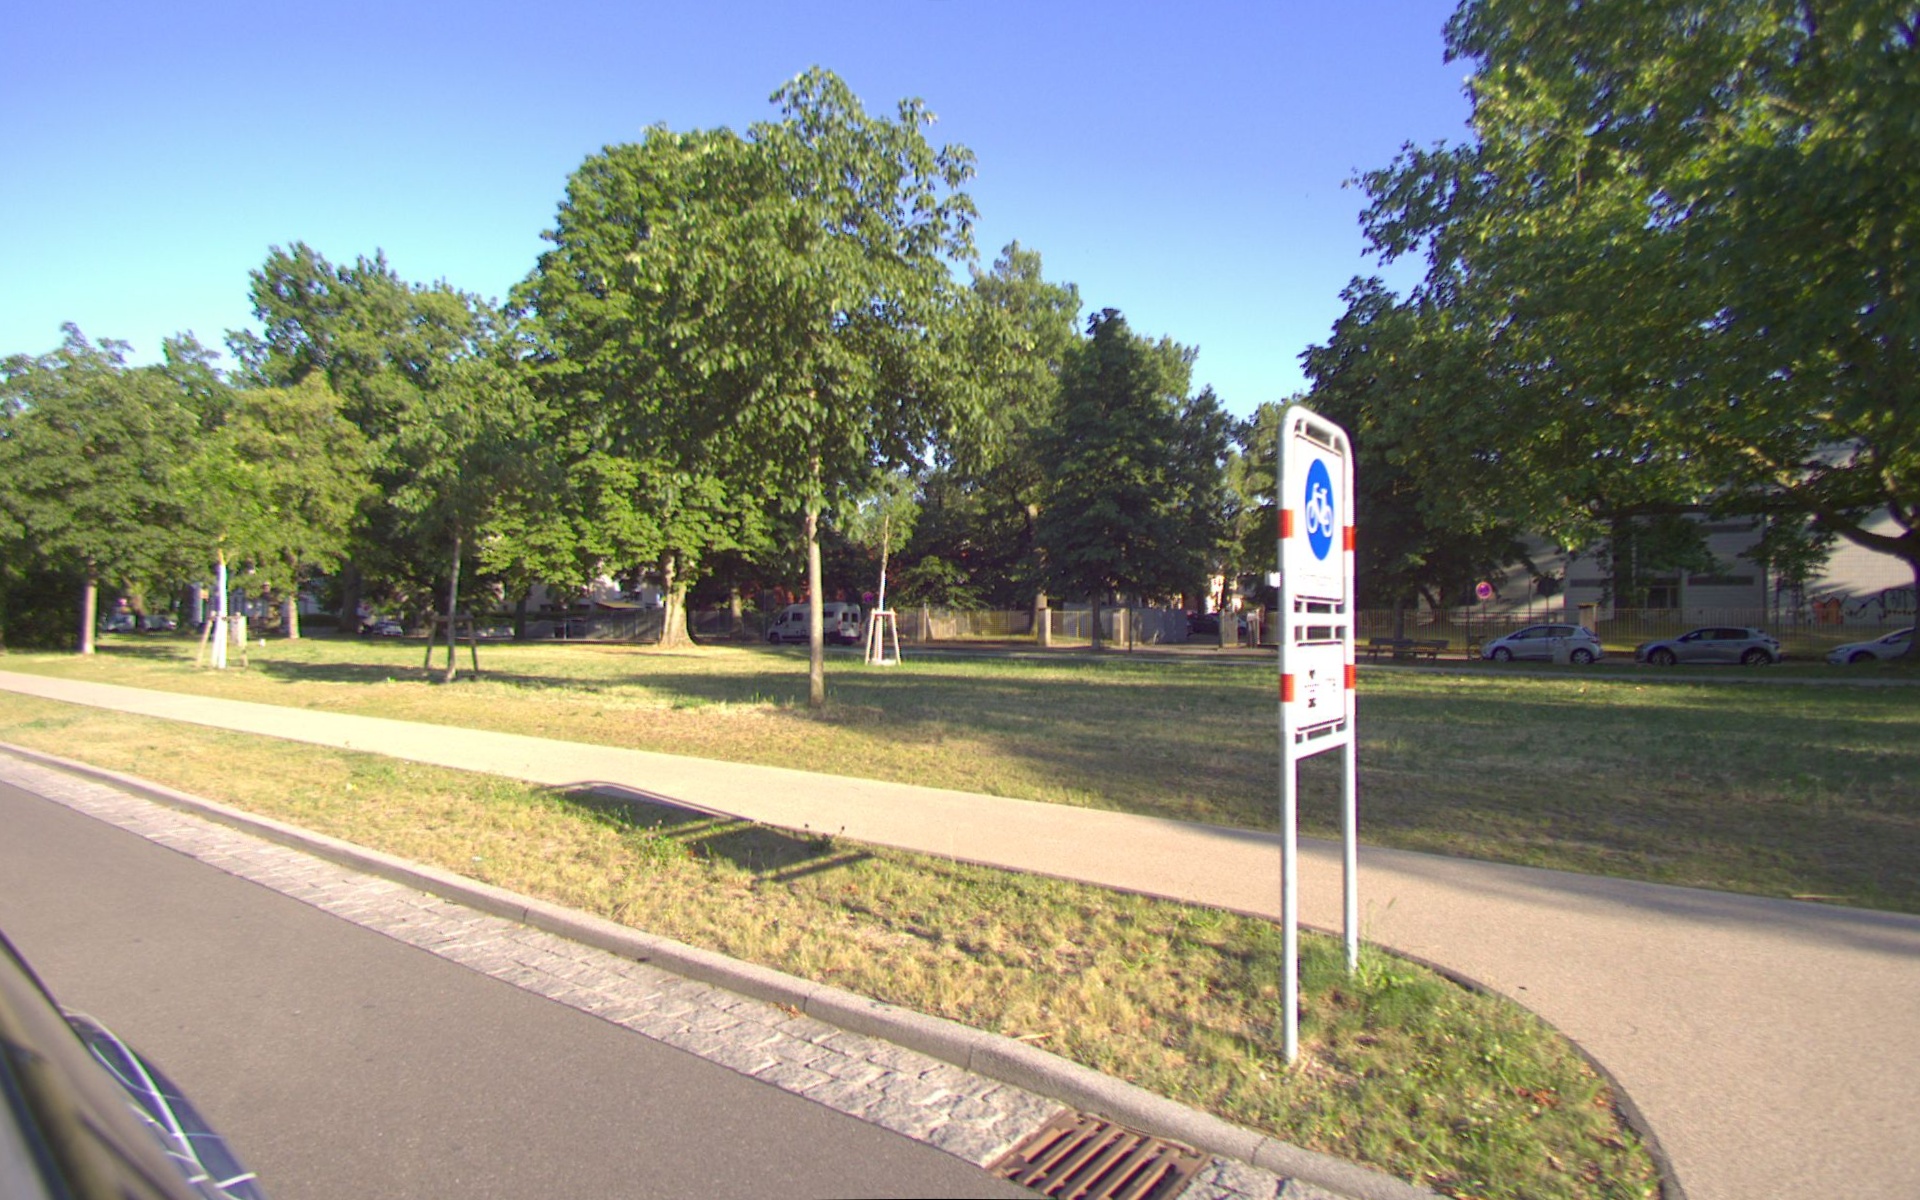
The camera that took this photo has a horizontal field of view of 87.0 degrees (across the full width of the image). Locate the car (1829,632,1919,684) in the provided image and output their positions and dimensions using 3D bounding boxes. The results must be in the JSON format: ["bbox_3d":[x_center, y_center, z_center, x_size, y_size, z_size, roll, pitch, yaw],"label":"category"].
[{"bbox_3d":[29.245,1.757,30.754,4.108,1.519,1.975,-1,-3,37],"label":"car"}]

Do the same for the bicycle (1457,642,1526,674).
[{"bbox_3d":[20.640,2.247,39.330,2.327,1.184,0.651,-1,-3,34],"label":"bicycle"}]

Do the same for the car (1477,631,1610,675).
[{"bbox_3d":[21.228,1.896,36.866,3.993,1.519,1.975,-1,-3,37],"label":"car"}]

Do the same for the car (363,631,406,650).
[{"bbox_3d":[-51.047,3.549,89.754,3.731,1.630,1.976,-1,-2,36],"label":"car"}]

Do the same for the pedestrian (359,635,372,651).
[{"bbox_3d":[-36.225,2.625,61.627,0.541,0.994,0.611,3,-3,-43],"label":"pedestrian"}]

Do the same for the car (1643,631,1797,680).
[{"bbox_3d":[25.262,1.826,33.788,3.993,1.519,1.975,-1,-3,37],"label":"car"}]

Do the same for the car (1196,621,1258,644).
[{"bbox_3d":[20.014,2.425,75.861,4.240,1.661,1.612,-1,-3,36],"label":"car"}]

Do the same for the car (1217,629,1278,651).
[{"bbox_3d":[22.294,3.108,78.554,4.240,1.661,1.612,-1,-3,36],"label":"car"}]

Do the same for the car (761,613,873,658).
[{"bbox_3d":[-8.344,2.066,58.742,6.303,2.482,2.697,-1,-3,35],"label":"car"}]
